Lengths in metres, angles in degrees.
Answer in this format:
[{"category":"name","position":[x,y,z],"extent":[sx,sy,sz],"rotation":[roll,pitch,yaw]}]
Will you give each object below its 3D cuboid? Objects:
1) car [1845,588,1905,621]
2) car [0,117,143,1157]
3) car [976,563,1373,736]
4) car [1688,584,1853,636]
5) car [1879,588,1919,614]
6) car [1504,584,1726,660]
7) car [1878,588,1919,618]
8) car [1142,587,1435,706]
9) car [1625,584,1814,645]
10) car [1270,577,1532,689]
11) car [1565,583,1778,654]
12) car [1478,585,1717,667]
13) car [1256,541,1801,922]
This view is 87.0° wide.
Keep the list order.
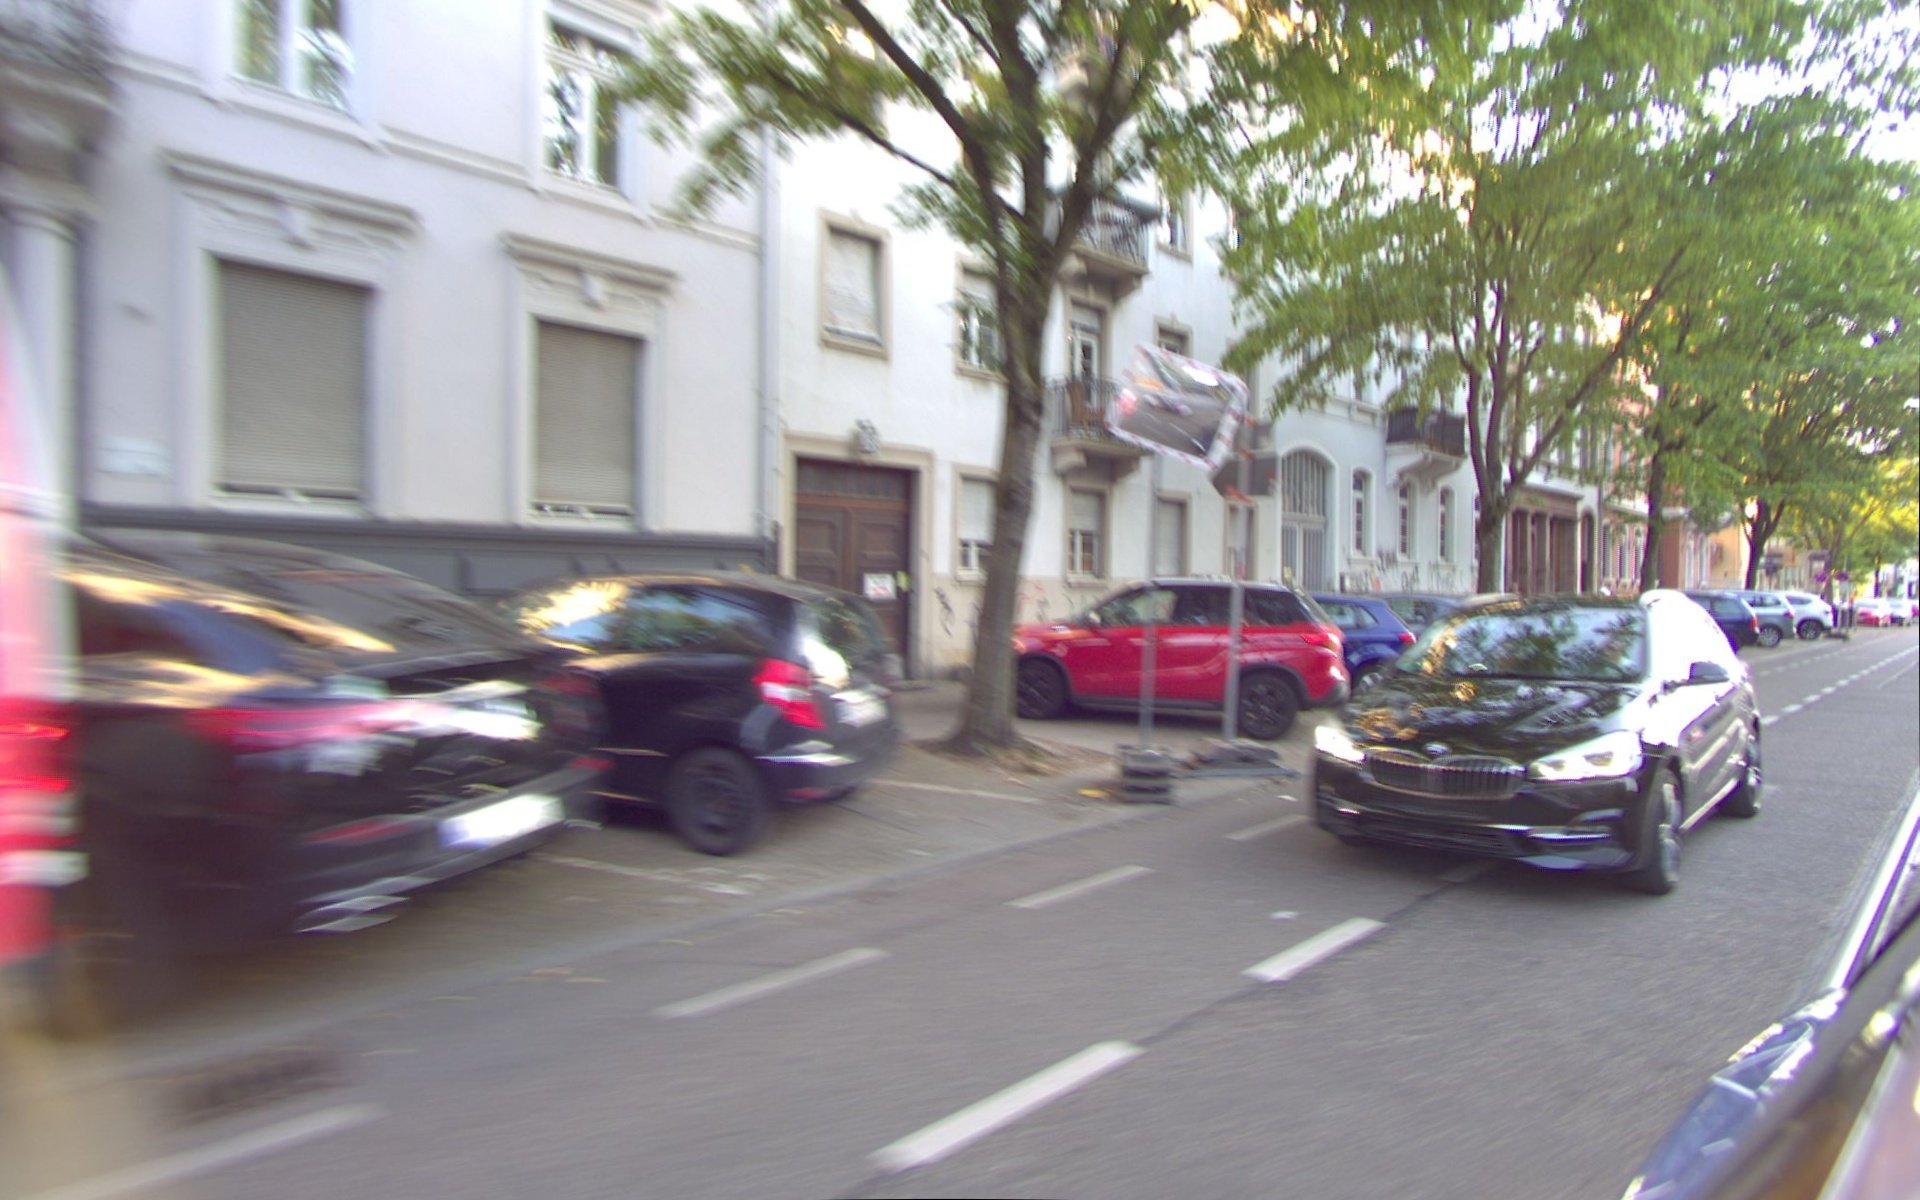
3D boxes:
[{"category":"car","position":[48.253,0.215,53.362],"extent":[3.752,1.630,1.742],"rotation":[0,0,-38]},{"category":"car","position":[-5.372,0.076,2.594],"extent":[5.555,2.728,2.163],"rotation":[1,0,13]},{"category":"car","position":[2.381,0.448,11.309],"extent":[4.070,1.661,1.731],"rotation":[1,0,21]},{"category":"car","position":[28.669,0.321,35.967],"extent":[4.157,1.629,1.733],"rotation":[2,1,19]},{"category":"car","position":[60.844,0.059,65.050],"extent":[4.194,1.630,1.954],"rotation":[0,0,-38]},{"category":"car","position":[15.127,0.457,23.633],"extent":[4.178,1.521,1.724],"rotation":[2,1,31]},{"category":"car","position":[53.085,0.122,56.792],"extent":[3.752,1.630,1.742],"rotation":[0,0,-38]},{"category":"car","position":[4.244,0.552,13.509],"extent":[3.520,1.427,1.515],"rotation":[1,0,13]},{"category":"car","position":[22.818,0.396,30.586],"extent":[4.157,1.629,1.733],"rotation":[2,1,19]},{"category":"car","position":[6.620,0.454,15.528],"extent":[3.528,1.565,1.376],"rotation":[1,0,19]},{"category":"car","position":[18.445,0.430,26.454],"extent":[4.157,1.629,1.693],"rotation":[2,1,19]},{"category":"car","position":[13.654,0.498,21.936],"extent":[4.178,1.521,1.724],"rotation":[2,1,31]},{"category":"car","position":[3.842,0.612,6.511],"extent":[4.098,1.662,1.836],"rotation":[0,-3,-43]}]
